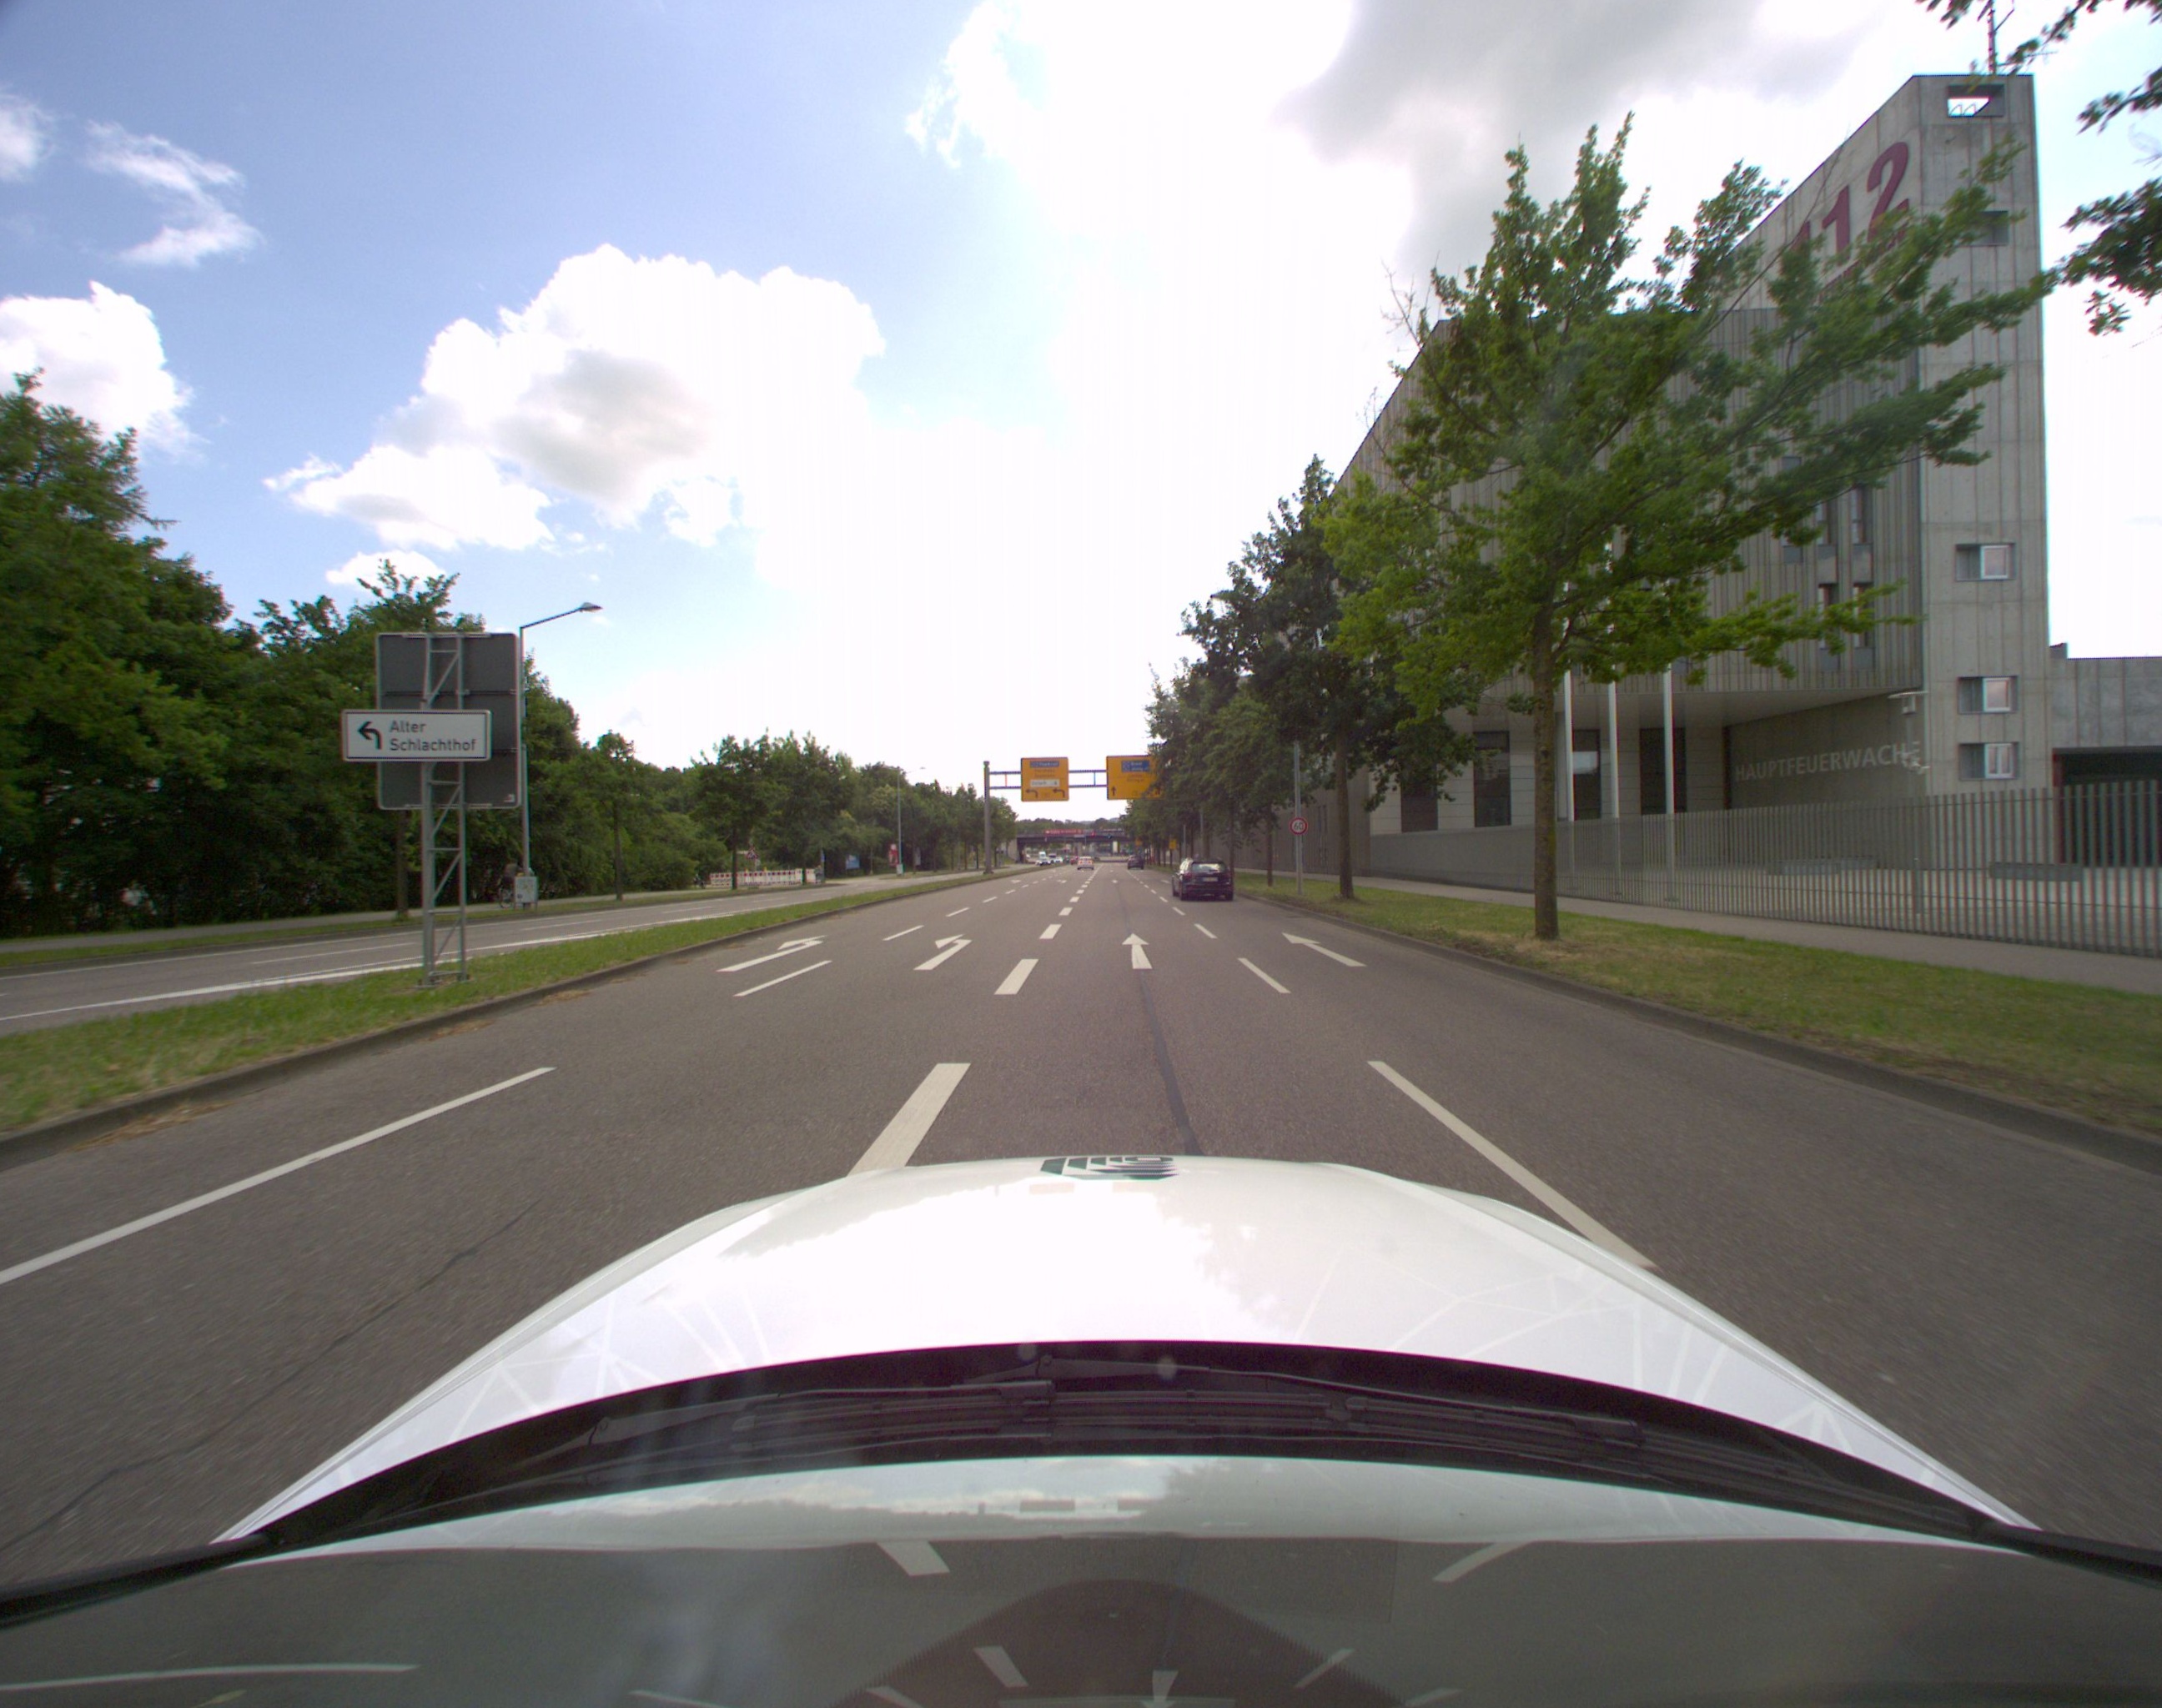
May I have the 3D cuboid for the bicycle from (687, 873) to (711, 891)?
[{"bbox_3d":[-23.831,1.740,50.790,0.888,1.059,2.337,-1,-1,-38],"label":"bicycle"}]

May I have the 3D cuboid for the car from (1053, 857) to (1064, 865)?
[{"bbox_3d":[-4.874,1.531,176.572,1.986,1.717,4.001,1,-1,2],"label":"car"}]

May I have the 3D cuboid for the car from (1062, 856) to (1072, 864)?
[{"bbox_3d":[-3.372,1.473,192.701,1.984,1.717,4.005,0,-1,5],"label":"car"}]

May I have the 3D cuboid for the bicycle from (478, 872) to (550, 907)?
[{"bbox_3d":[-20.703,1.276,29.826,0.804,1.226,2.503,-1,-1,3],"label":"bicycle"}]

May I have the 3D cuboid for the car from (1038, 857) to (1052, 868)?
[{"bbox_3d":[-6.135,1.439,139.627,1.985,1.618,4.003,-1,0,3],"label":"car"}]

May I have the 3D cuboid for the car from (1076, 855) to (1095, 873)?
[{"bbox_3d":[0.509,1.103,90.315,1.988,2.014,3.998,0,0,-1],"label":"car"}]

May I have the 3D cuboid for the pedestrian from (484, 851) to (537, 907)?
[{"bbox_3d":[-20.855,0.896,29.785,0.966,2.013,1.250,-1,0,3],"label":"pedestrian"}]

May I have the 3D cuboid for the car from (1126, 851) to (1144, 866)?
[{"bbox_3d":[6.322,0.502,95.307,1.985,1.626,4.314,-2,1,4],"label":"car"}]

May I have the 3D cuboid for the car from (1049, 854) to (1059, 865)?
[{"bbox_3d":[-6.528,1.290,198.318,1.984,2.640,5.242,0,-1,5],"label":"car"}]

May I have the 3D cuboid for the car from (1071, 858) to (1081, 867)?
[{"bbox_3d":[-0.827,1.487,140.929,1.769,1.463,3.998,0,0,-1],"label":"car"}]

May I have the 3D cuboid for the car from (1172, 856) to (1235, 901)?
[{"bbox_3d":[4.219,0.803,28.534,1.678,1.463,4.000,0,0,1],"label":"car"}]

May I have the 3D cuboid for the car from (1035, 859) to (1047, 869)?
[{"bbox_3d":[-7.813,1.932,159.553,1.986,1.783,4.000,1,-1,1],"label":"car"}]
